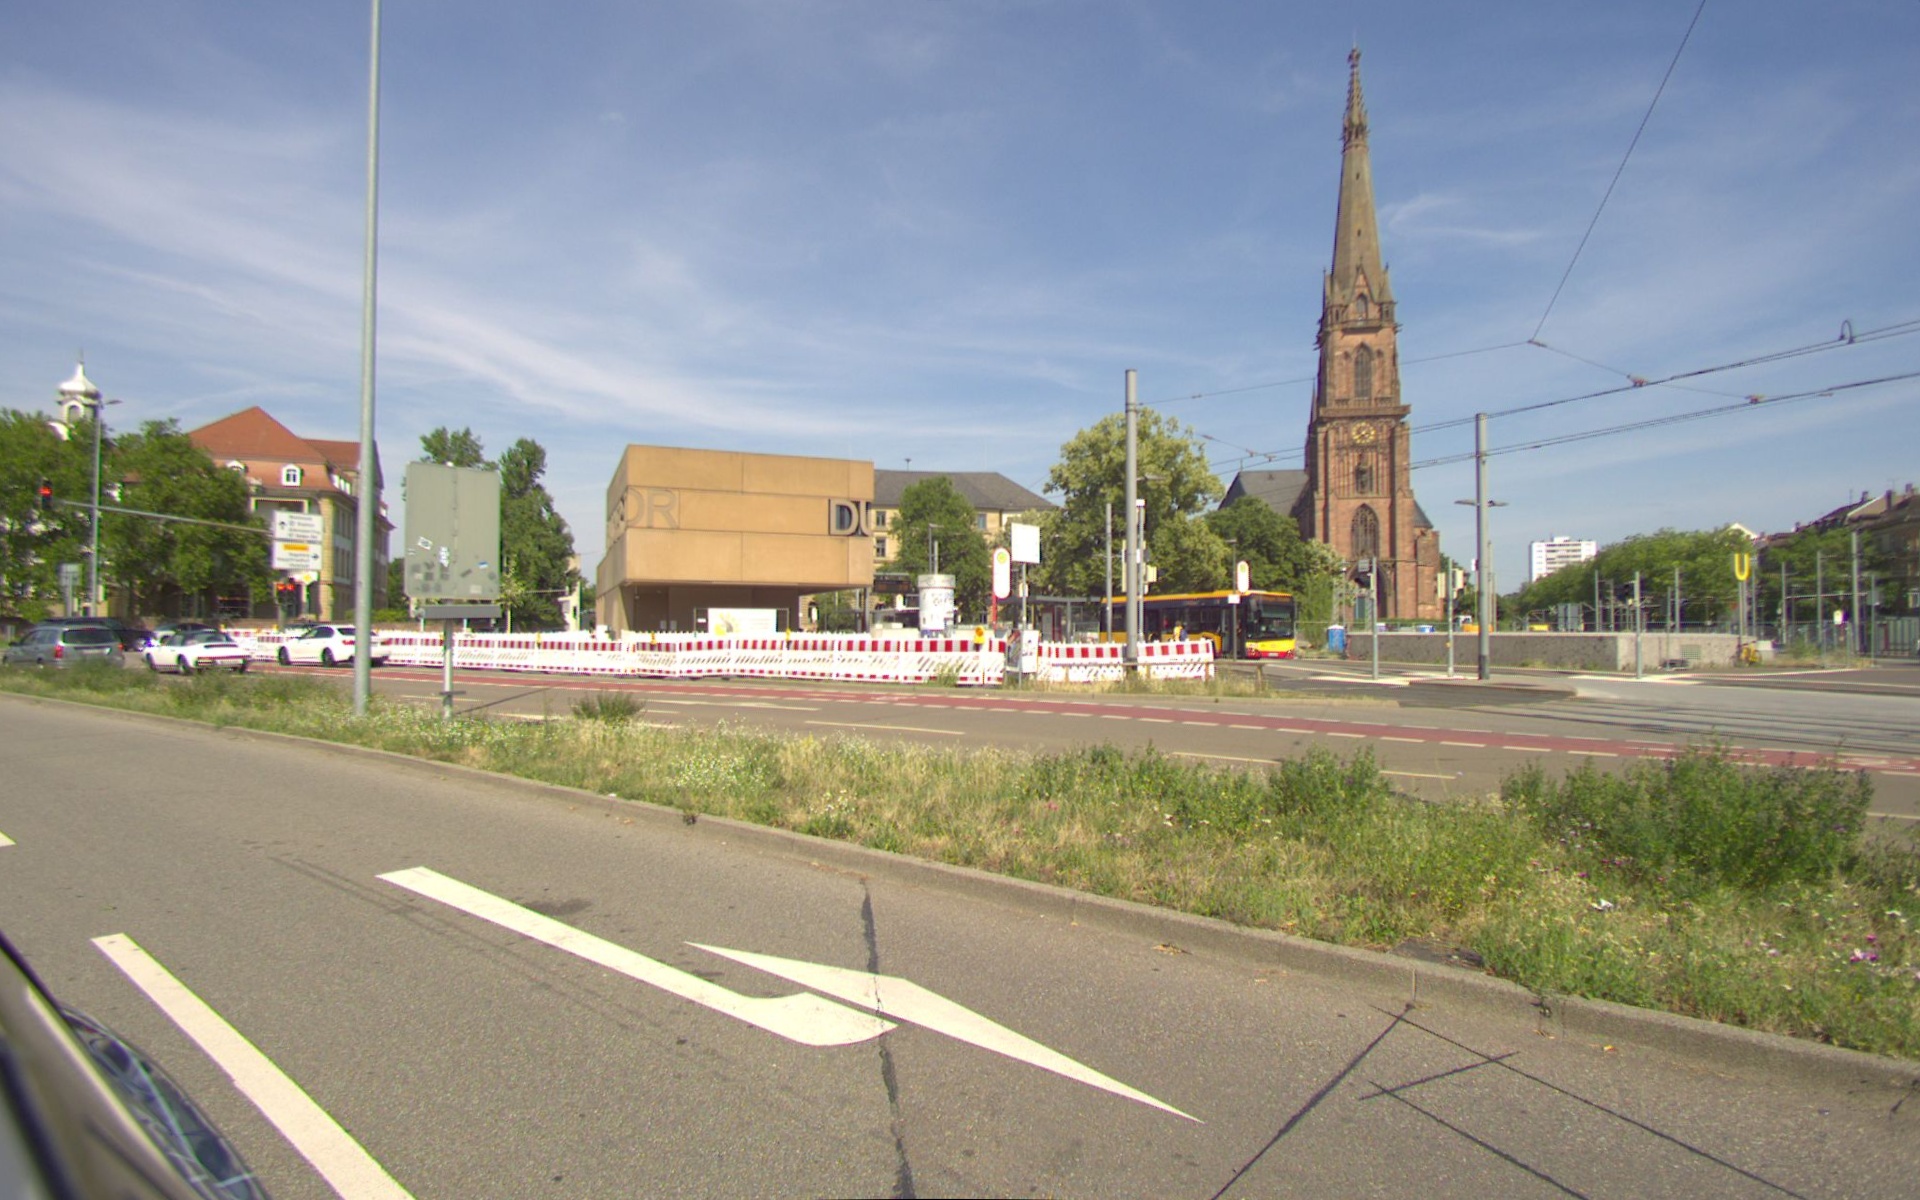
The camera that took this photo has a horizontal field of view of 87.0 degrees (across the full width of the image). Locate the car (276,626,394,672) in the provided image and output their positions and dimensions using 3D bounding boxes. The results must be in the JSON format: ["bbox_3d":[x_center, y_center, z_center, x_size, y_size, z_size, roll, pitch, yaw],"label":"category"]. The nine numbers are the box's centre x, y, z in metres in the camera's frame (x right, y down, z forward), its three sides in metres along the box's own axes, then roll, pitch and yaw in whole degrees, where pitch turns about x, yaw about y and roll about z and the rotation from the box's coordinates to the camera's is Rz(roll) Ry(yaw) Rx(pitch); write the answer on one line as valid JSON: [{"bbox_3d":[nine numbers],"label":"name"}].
[{"bbox_3d":[-21.415,1.627,34.669,3.984,1.431,1.785,-1,0,30],"label":"car"}]

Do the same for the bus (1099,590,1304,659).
[{"bbox_3d":[10.475,1.007,45.992,2.711,2.703,11.828,-1,0,-22],"label":"bus"}]

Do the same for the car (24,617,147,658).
[{"bbox_3d":[-41.372,1.739,47.959,1.750,1.742,4.077,-1,0,25],"label":"car"}]

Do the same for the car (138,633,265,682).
[{"bbox_3d":[-22.446,1.650,29.929,3.984,1.296,1.583,-1,0,30],"label":"car"}]

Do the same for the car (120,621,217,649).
[{"bbox_3d":[-44.338,1.940,56.809,1.743,1.454,4.092,-1,0,16],"label":"car"}]

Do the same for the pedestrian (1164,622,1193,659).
[{"bbox_3d":[8.395,1.545,38.902,0.911,1.377,0.532,-1,0,41],"label":"pedestrian"}]

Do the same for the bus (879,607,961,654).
[{"bbox_3d":[-3.360,2.428,79.577,2.710,3.348,11.827,1,-2,-22],"label":"bus"}]

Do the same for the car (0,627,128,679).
[{"bbox_3d":[-24.715,1.411,27.804,3.984,1.296,1.583,-1,0,30],"label":"car"}]
